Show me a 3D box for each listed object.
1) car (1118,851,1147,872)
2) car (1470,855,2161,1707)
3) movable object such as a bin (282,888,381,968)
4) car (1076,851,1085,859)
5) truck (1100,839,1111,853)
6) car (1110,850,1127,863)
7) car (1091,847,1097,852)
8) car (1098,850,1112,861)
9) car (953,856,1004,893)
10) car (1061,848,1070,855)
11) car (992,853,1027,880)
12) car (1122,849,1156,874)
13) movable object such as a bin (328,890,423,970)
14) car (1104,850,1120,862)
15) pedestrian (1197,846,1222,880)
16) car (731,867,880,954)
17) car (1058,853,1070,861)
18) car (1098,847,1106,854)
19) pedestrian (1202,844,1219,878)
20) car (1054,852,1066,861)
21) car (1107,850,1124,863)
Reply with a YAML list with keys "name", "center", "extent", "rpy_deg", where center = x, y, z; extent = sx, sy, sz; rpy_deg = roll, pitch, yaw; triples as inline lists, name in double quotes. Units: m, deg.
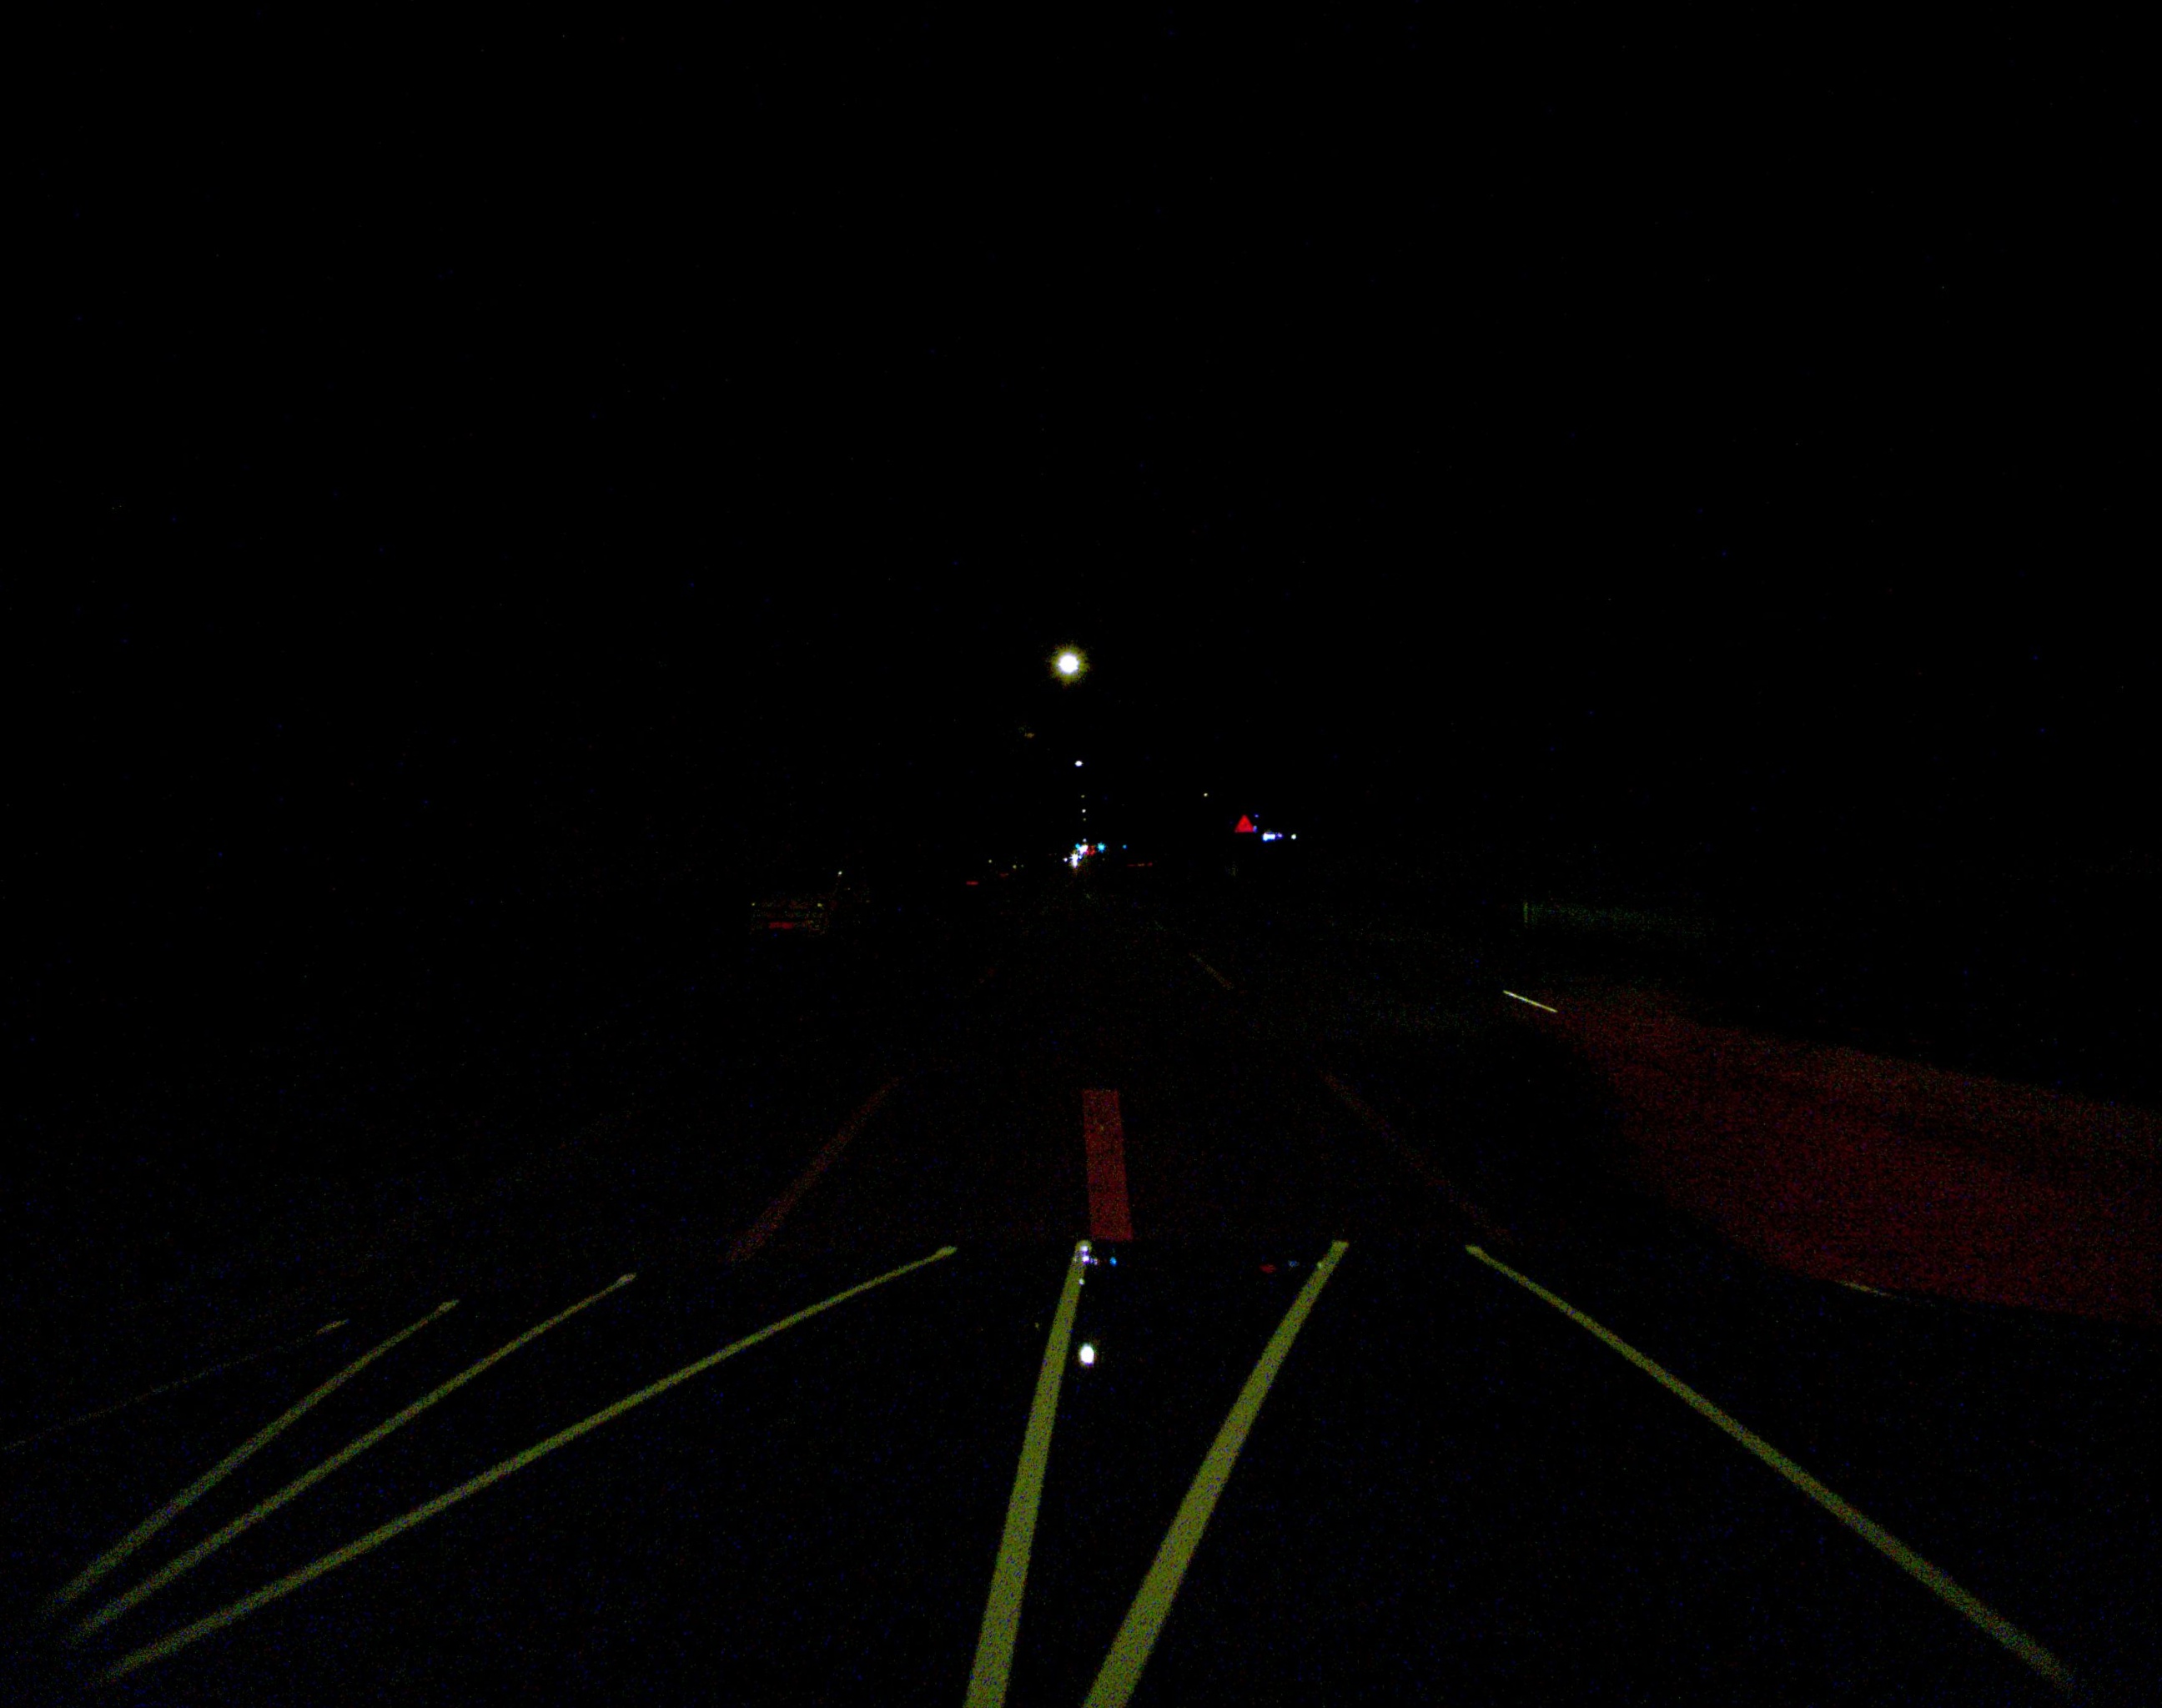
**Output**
- name: "car"
  center: [3.891, 0.557, 57.849]
  extent: [1.864, 1.458, 3.896]
  rpy_deg: [-4, 0, -1]
- name: "car"
  center: [2.627, 0.813, 1.299]
  extent: [1.862, 1.525, 4.027]
  rpy_deg: [-2, 0, 1]
- name: "movable object such as a bin"
  center: [-10.721, 1.044, 10.888]
  extent: [0.609, 1.042, 0.755]
  rpy_deg: [-2, 1, 1]
- name: "car"
  center: [-0.122, 0.266, 169.941]
  extent: [1.874, 1.635, 3.999]
  rpy_deg: [-2, 0, 0]
- name: "truck"
  center: [4.958, -1.627, 155.513]
  extent: [2.084, 2.562, 6.873]
  rpy_deg: [-2, 0, 1]
- name: "car"
  center: [4.961, 0.325, 100.874]
  extent: [1.874, 1.635, 3.999]
  rpy_deg: [-2, 0, -3]
- name: "car"
  center: [4.531, -1.583, 259.456]
  extent: [1.873, 1.635, 4.000]
  rpy_deg: [-2, 0, 1]
- name: "car"
  center: [3.722, 0.204, 119.500]
  extent: [1.874, 1.635, 3.999]
  rpy_deg: [-2, 0, -3]
- name: "car"
  center: [-4.568, 0.869, 34.292]
  extent: [1.865, 1.544, 4.044]
  rpy_deg: [0, 0, -1]
- name: "car"
  center: [-3.330, -0.501, 163.017]
  extent: [1.874, 1.407, 3.999]
  rpy_deg: [-2, 0, 0]
- name: "car"
  center: [-4.453, 0.769, 47.814]
  extent: [1.742, 1.588, 4.359]
  rpy_deg: [0, 0, 1]
- name: "car"
  center: [3.968, 0.514, 52.335]
  extent: [1.864, 1.524, 4.587]
  rpy_deg: [-4, 0, -1]
- name: "movable object such as a bin"
  center: [-10.084, 1.070, 10.885]
  extent: [0.609, 1.042, 0.755]
  rpy_deg: [-2, 1, 1]
- name: "car"
  center: [4.436, 0.294, 110.068]
  extent: [1.874, 1.635, 3.999]
  rpy_deg: [-2, 0, -3]
- name: "pedestrian"
  center: [6.522, 0.466, 38.580]
  extent: [0.742, 1.662, 1.105]
  rpy_deg: [-1, 2, 40]
- name: "car"
  center: [-5.334, 1.029, 15.206]
  extent: [1.672, 1.476, 3.603]
  rpy_deg: [0, 0, 0]
- name: "car"
  center: [-2.990, 0.567, 134.805]
  extent: [1.874, 1.407, 3.999]
  rpy_deg: [-2, 0, 0]
- name: "car"
  center: [4.990, -0.762, 180.318]
  extent: [1.873, 1.551, 4.353]
  rpy_deg: [-2, 0, 1]
- name: "pedestrian"
  center: [6.792, 0.371, 39.919]
  extent: [0.670, 1.716, 0.866]
  rpy_deg: [-2, 1, -2]
- name: "car"
  center: [-3.586, 0.392, 128.839]
  extent: [1.874, 1.407, 3.999]
  rpy_deg: [-2, 0, 0]
- name: "car"
  center: [4.719, 0.353, 105.130]
  extent: [1.874, 1.635, 3.999]
  rpy_deg: [-2, 0, -3]
